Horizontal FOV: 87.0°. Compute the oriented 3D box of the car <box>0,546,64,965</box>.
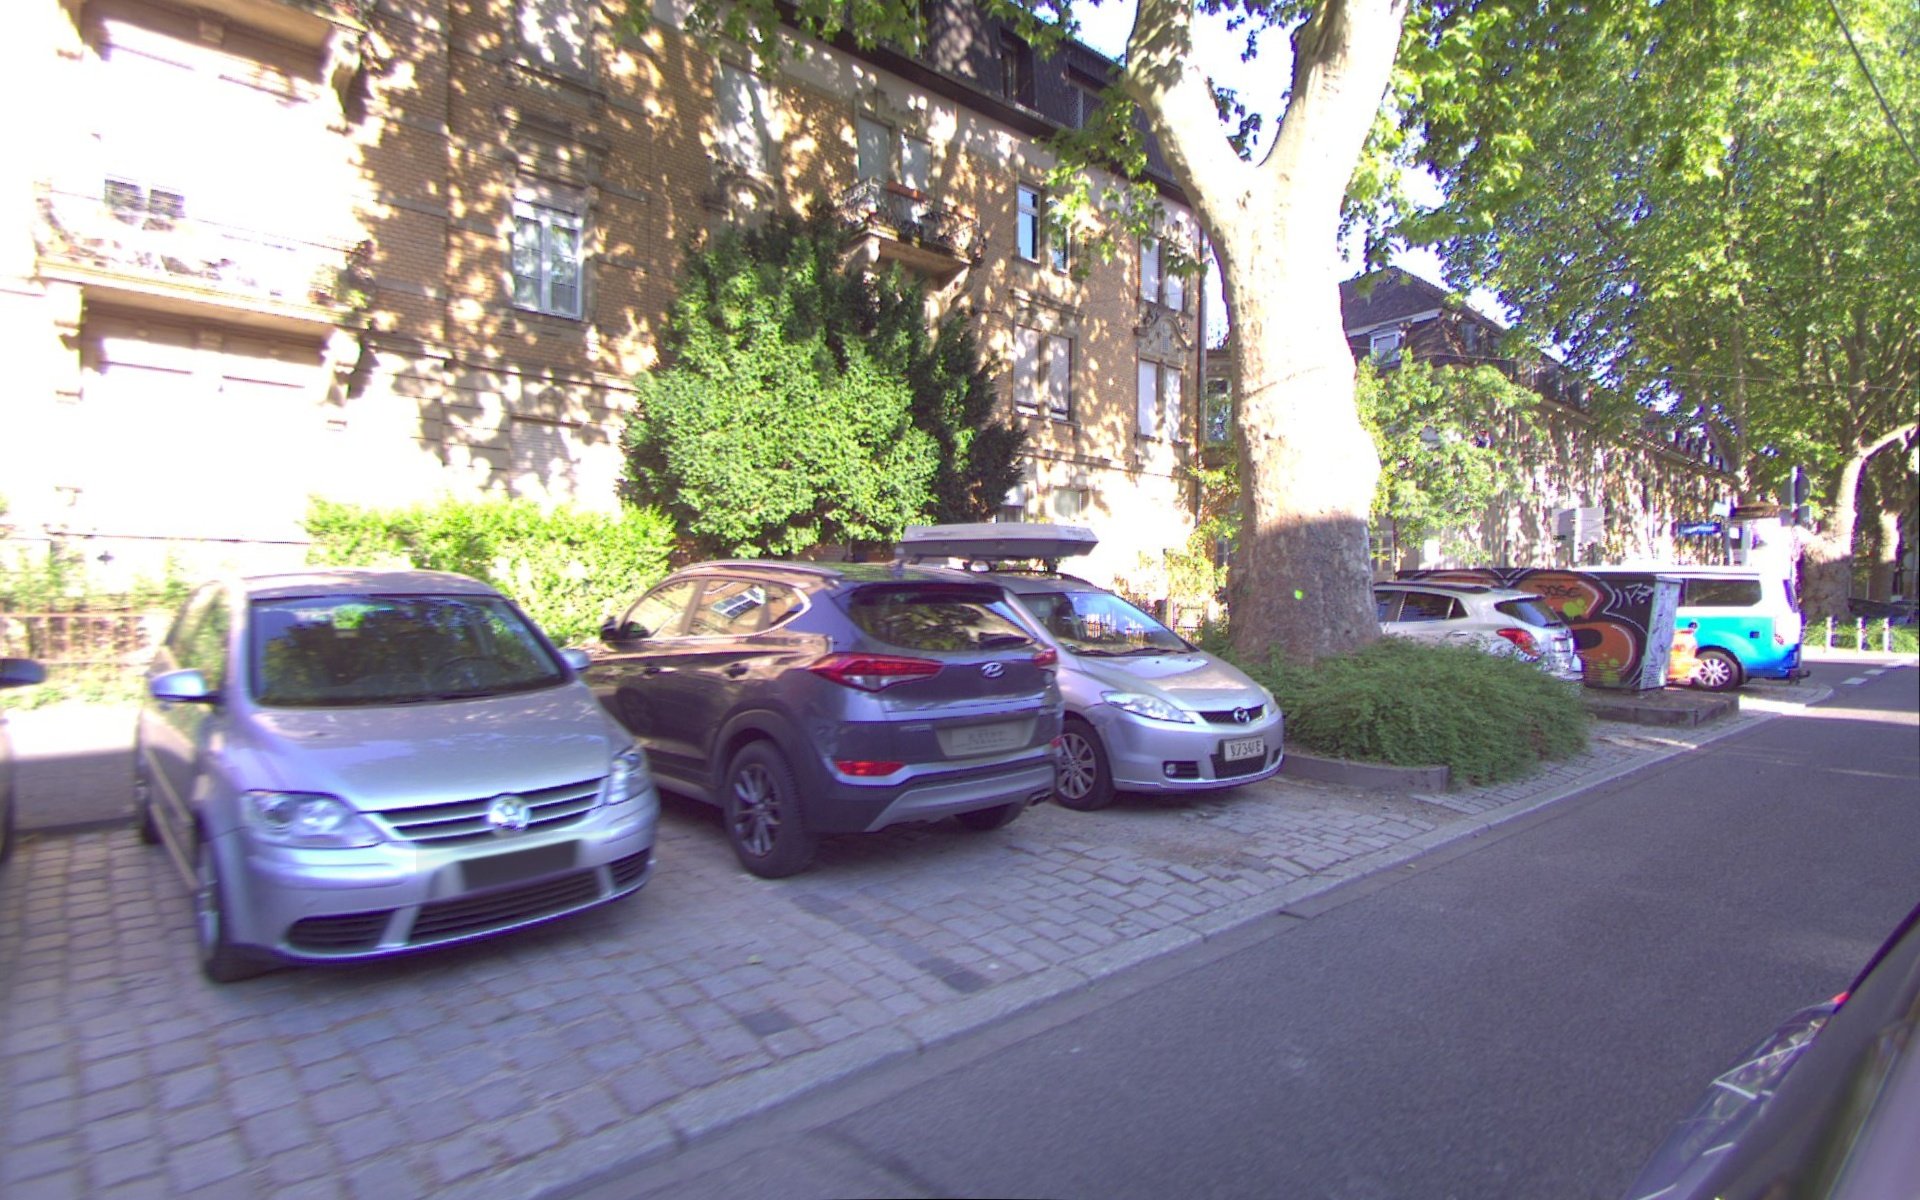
[{"bbox_3d":[-5.064,0.561,4.205,1.785,1.575,4.210,0,1,-39],"label":"car"}]

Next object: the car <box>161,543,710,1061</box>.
[{"bbox_3d":[-3.054,0.576,5.325,1.785,1.593,4.210,0,1,-39],"label":"car"}]

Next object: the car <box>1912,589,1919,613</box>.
[{"bbox_3d":[69.338,0.145,70.180,1.858,1.736,4.613,1,1,-38],"label":"car"}]

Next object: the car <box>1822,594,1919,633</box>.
[{"bbox_3d":[39.347,0.577,42.433,1.858,1.513,4.613,1,1,-38],"label":"car"}]

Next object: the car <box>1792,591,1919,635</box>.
[{"bbox_3d":[34.831,0.489,38.489,1.858,1.513,4.613,1,1,-38],"label":"car"}]

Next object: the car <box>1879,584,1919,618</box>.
[{"bbox_3d":[53.733,0.120,55.572,1.858,1.814,4.613,1,1,-38],"label":"car"}]

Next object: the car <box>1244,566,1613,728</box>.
[{"bbox_3d":[5.721,0.446,12.670,1.760,1.638,3.787,0,2,-43],"label":"car"}]

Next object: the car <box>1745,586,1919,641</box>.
[{"bbox_3d":[29.484,0.420,33.868,1.860,1.651,4.807,1,1,-41],"label":"car"}]

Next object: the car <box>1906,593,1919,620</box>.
[{"bbox_3d":[62.391,0.494,63.189,1.858,1.661,4.613,1,1,-38],"label":"car"}]

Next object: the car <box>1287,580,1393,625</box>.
[{"bbox_3d":[14.462,0.075,38.457,3.921,1.602,1.732,0,1,-32],"label":"car"}]

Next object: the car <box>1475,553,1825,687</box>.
[{"bbox_3d":[12.296,0.227,18.289,2.158,2.038,4.850,0,3,-44],"label":"car"}]

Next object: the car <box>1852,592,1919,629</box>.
[{"bbox_3d":[43.213,0.508,45.318,1.858,1.585,4.613,1,1,-38],"label":"car"}]

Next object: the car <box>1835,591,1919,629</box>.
[{"bbox_3d":[41.120,0.449,43.803,1.858,1.513,4.613,1,1,-38],"label":"car"}]

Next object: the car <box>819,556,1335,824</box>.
[{"bbox_3d":[0.693,0.504,8.379,1.785,1.639,4.210,0,1,-39],"label":"car"}]

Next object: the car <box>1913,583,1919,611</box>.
[{"bbox_3d":[64.283,-0.095,64.749,1.858,1.814,4.613,1,1,-38],"label":"car"}]

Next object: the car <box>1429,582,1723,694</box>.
[{"bbox_3d":[10.040,0.525,16.682,1.760,1.506,3.787,0,2,-43],"label":"car"}]

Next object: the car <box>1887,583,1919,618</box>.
[{"bbox_3d":[58.119,0.070,59.847,1.858,2.039,4.638,1,1,-38],"label":"car"}]

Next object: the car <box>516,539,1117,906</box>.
[{"bbox_3d":[-1.213,0.502,6.698,1.847,1.639,4.204,0,1,-44],"label":"car"}]

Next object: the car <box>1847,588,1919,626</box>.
[{"bbox_3d":[44.223,0.340,46.741,1.858,1.661,4.613,1,1,-38],"label":"car"}]
